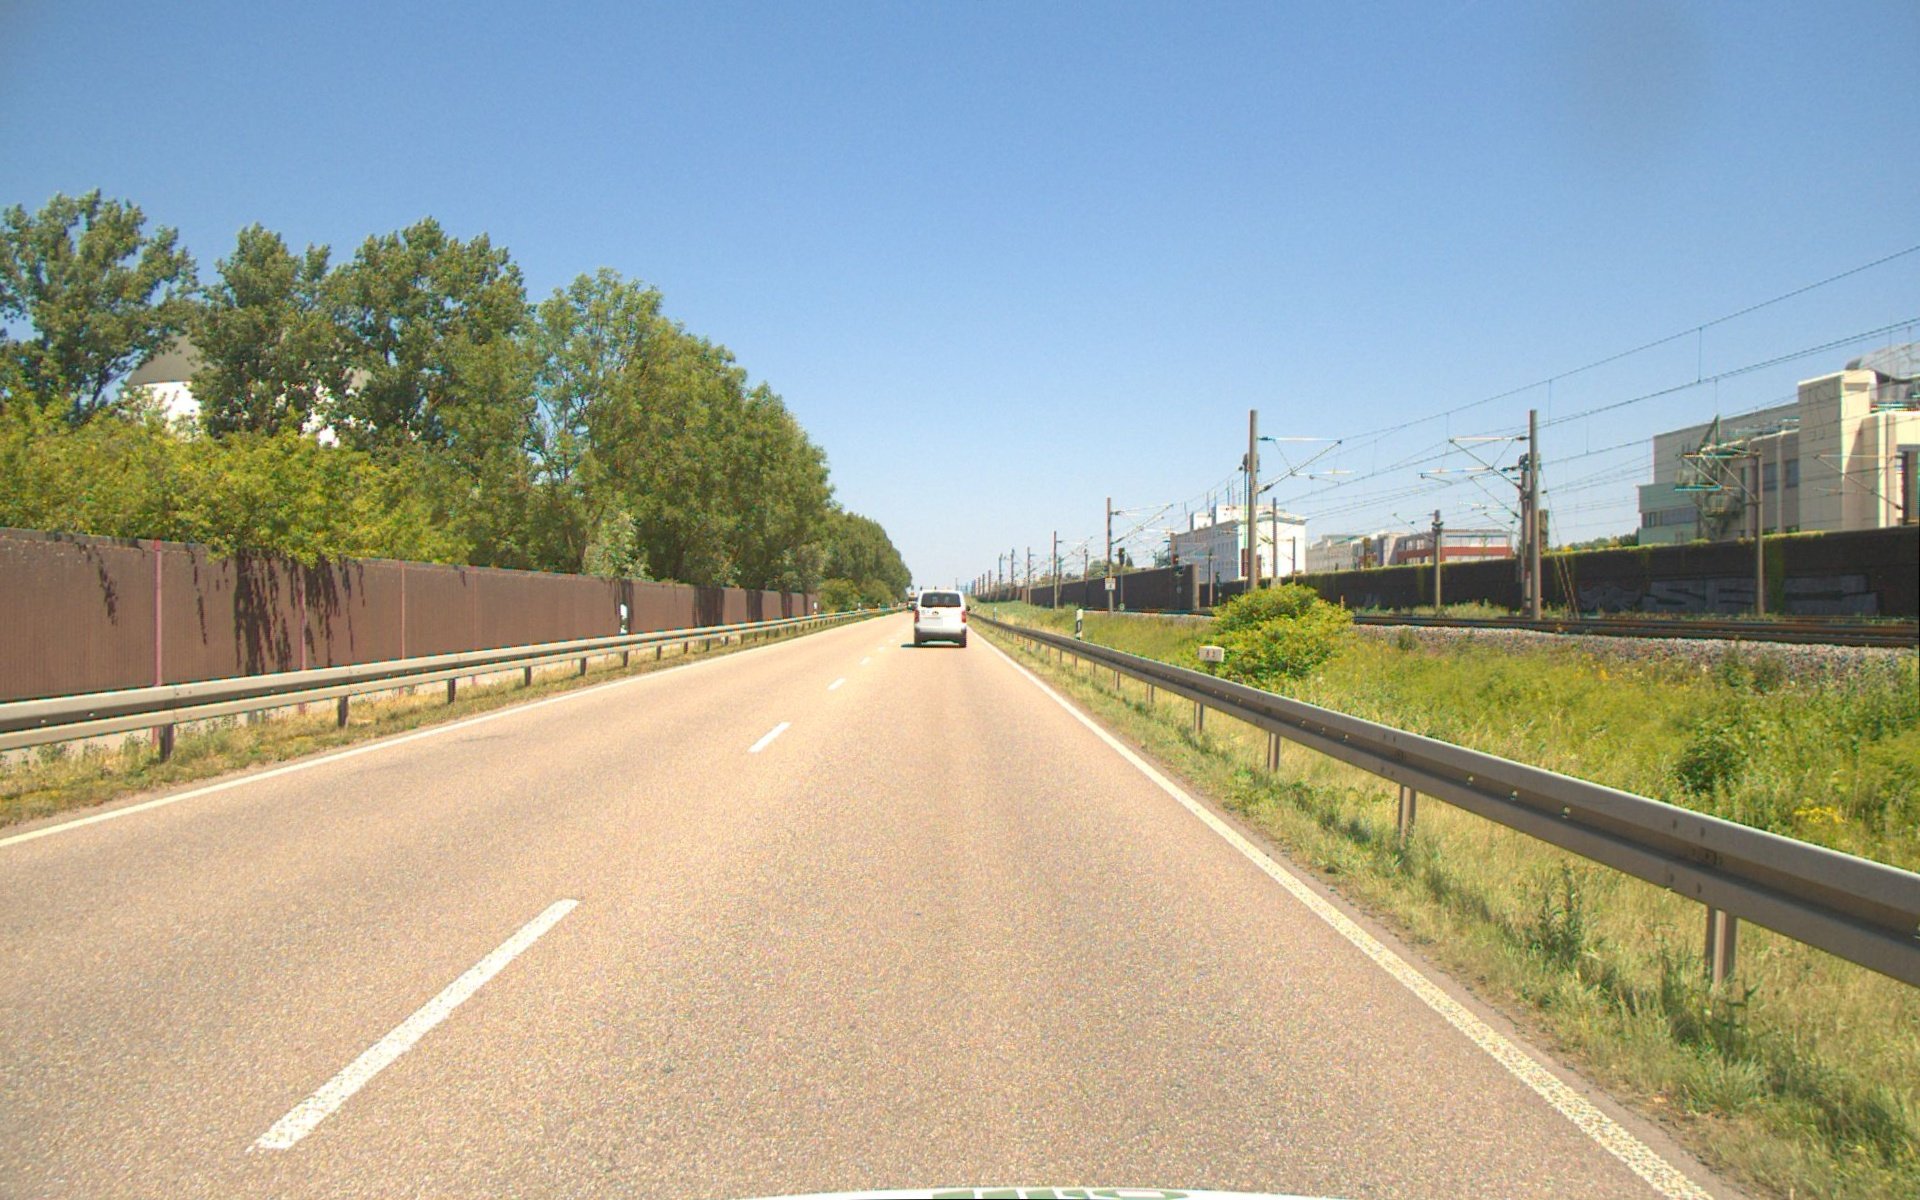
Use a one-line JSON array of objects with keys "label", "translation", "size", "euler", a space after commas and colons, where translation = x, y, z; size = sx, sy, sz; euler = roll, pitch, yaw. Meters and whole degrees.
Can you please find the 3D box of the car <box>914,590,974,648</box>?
[{"label": "car", "translation": [-0.572, 0.658, 57.730], "size": [1.953, 1.882, 3.999], "euler": [2, 0, -1]}]
